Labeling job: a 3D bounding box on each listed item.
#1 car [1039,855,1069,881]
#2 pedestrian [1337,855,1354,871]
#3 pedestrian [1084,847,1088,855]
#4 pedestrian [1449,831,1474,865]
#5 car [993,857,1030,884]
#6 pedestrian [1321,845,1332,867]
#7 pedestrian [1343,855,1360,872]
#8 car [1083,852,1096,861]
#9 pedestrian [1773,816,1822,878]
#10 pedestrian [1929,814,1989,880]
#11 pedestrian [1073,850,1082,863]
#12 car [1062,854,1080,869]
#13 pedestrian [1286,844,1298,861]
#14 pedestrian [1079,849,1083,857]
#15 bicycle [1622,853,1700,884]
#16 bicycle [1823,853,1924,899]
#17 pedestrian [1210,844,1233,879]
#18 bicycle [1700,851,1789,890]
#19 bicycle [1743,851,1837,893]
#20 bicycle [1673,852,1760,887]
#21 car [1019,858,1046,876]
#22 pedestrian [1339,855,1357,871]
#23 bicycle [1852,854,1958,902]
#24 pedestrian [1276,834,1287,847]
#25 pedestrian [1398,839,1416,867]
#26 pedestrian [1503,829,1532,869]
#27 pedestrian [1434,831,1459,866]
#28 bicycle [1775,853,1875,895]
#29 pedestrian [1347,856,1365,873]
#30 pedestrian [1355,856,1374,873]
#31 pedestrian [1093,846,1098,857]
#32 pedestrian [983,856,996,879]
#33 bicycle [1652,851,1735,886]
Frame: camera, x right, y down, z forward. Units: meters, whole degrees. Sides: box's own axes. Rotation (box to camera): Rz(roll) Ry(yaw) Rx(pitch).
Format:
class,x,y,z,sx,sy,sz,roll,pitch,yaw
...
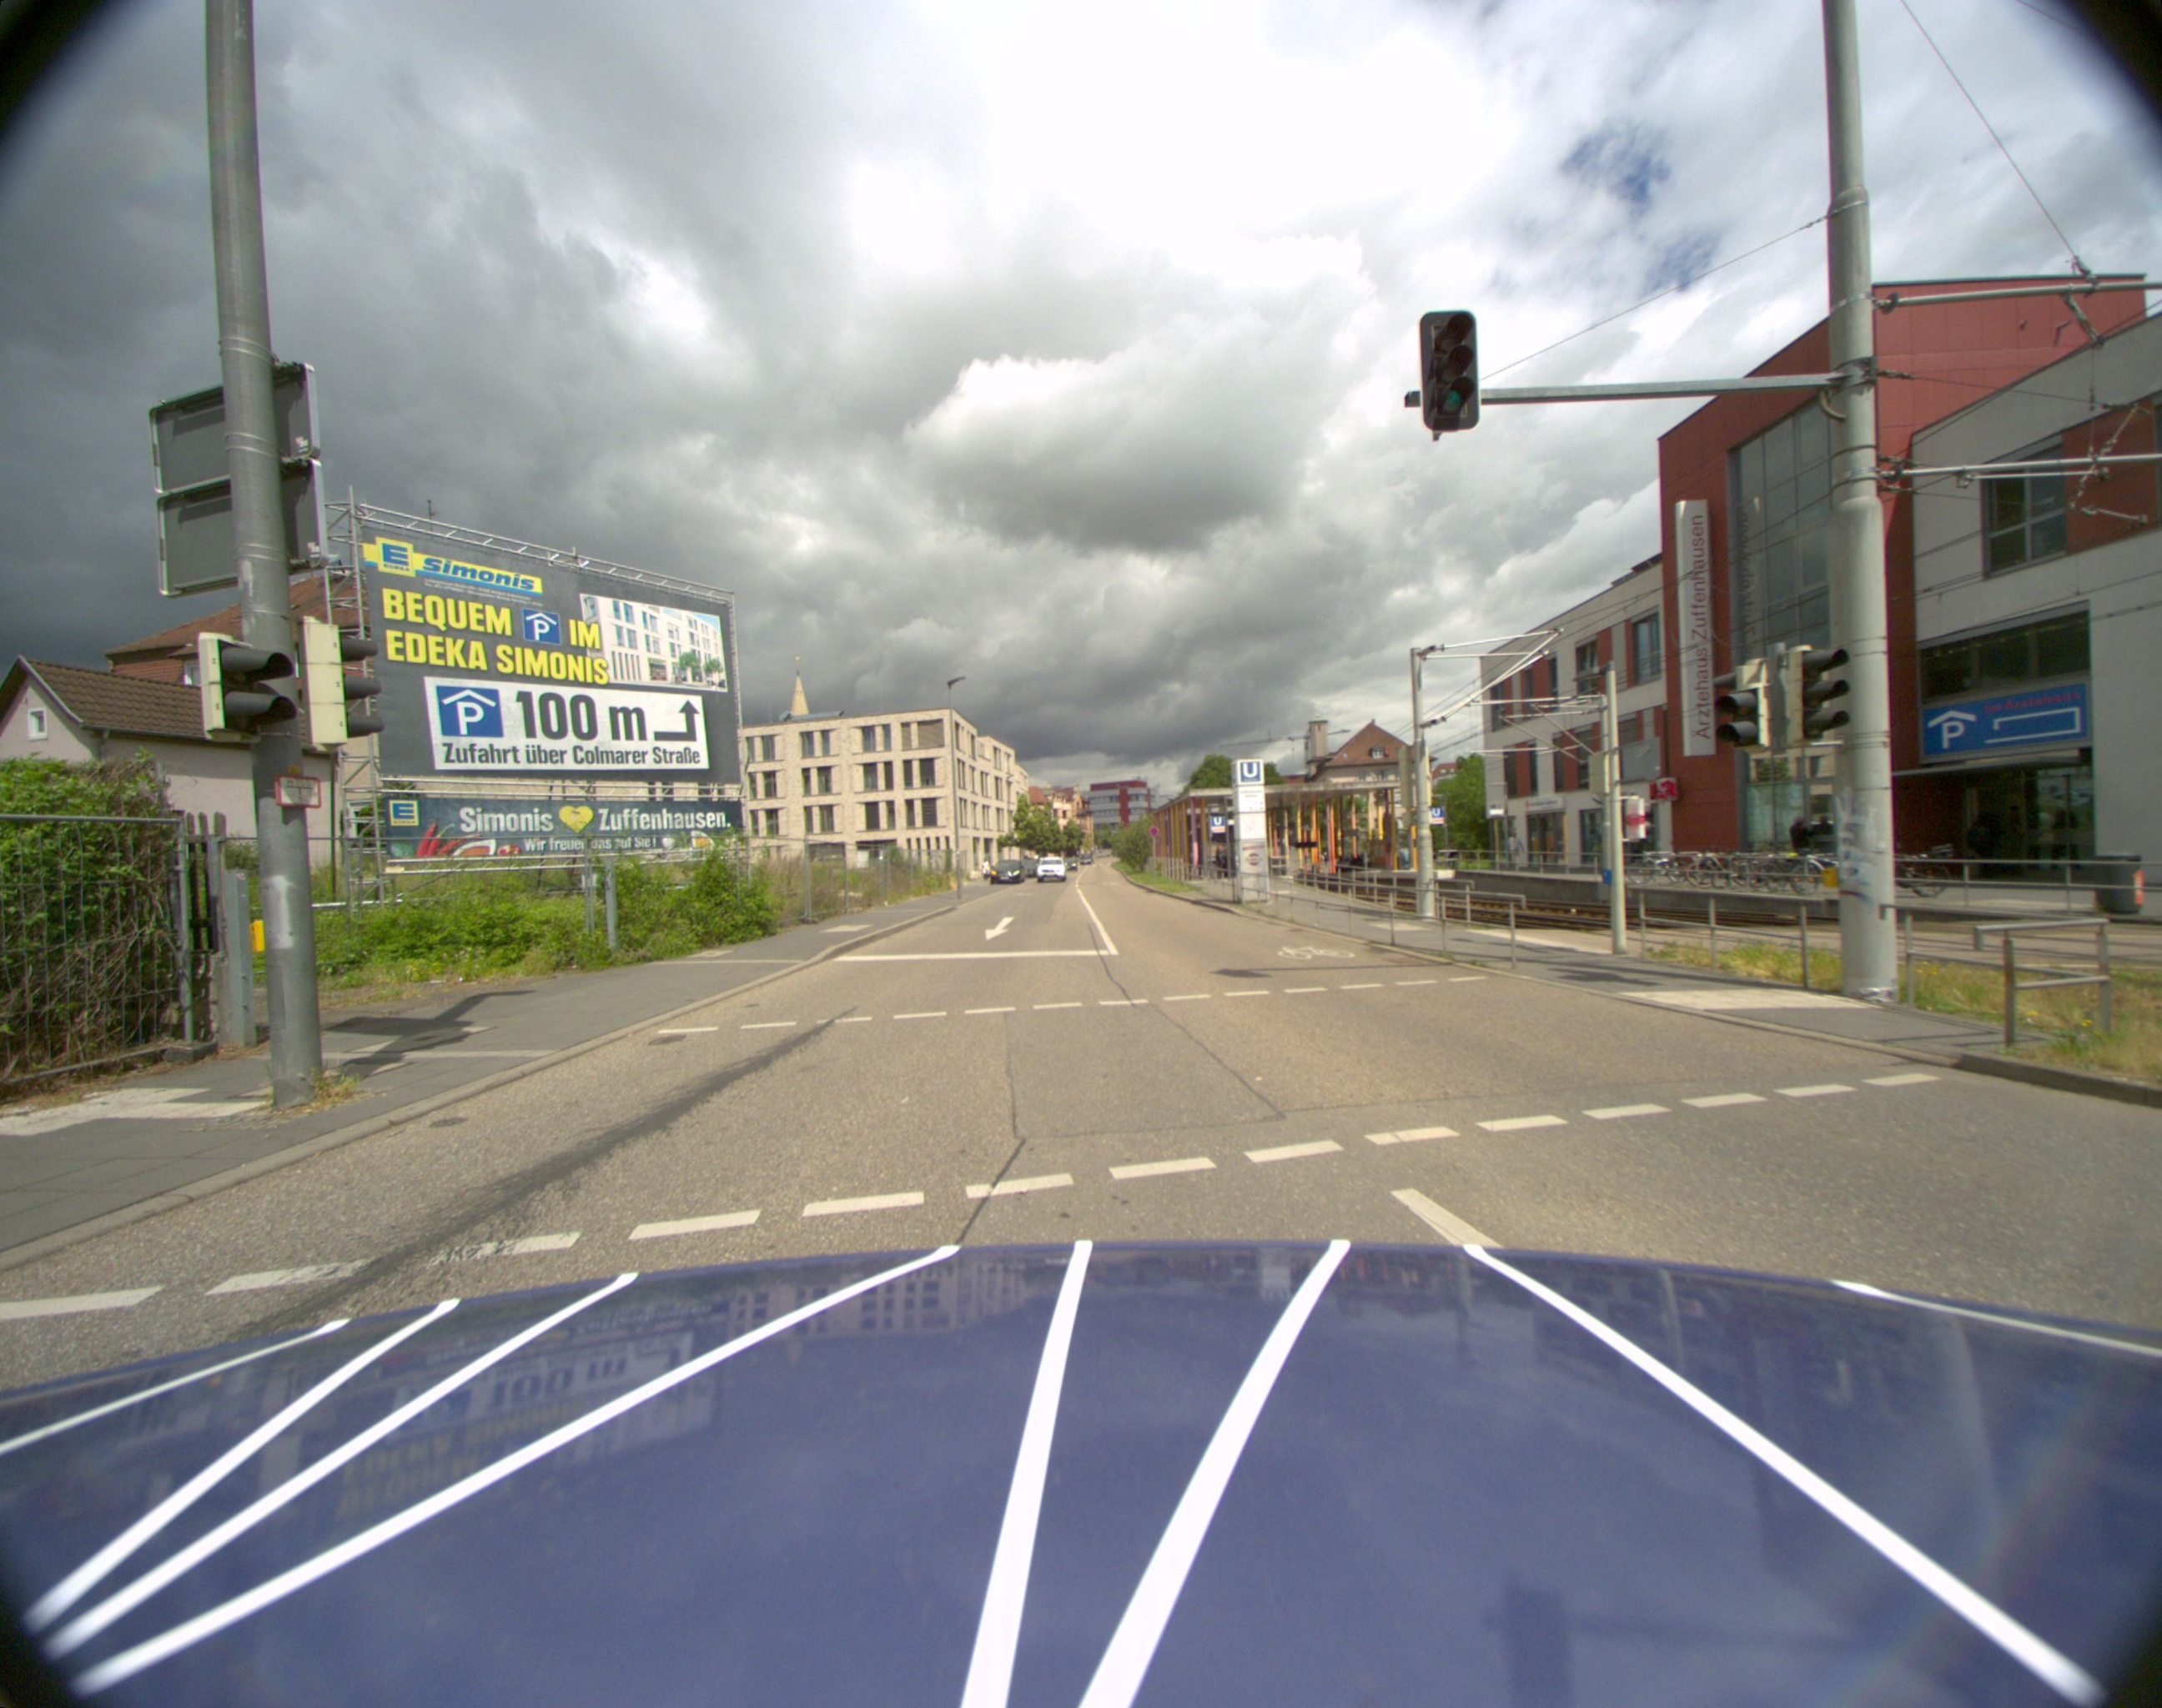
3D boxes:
class,x,y,z,sx,sy,sz,roll,pitch,yaw
car,-1.678,0.851,48.239,1.719,1.541,3.793,-1,0,1
pedestrian,19.265,0.629,55.424,0.943,1.128,0.886,-2,0,2
pedestrian,0.961,-0.584,141.750,0.673,1.503,0.783,-2,0,3
pedestrian,21.781,-0.351,43.526,0.864,1.957,1.105,-1,2,-1
car,-4.164,0.968,46.106,1.677,1.415,3.794,-1,1,3
pedestrian,22.125,0.168,68.404,0.617,2.002,0.775,-1,0,-6
pedestrian,19.078,0.678,53.592,0.943,1.128,0.886,-2,0,2
car,1.214,0.359,111.237,1.677,1.299,3.794,-1,1,3
pedestrian,22.005,-0.234,23.335,0.881,1.835,0.862,-4,3,-27
pedestrian,22.934,-0.183,19.867,0.933,1.688,0.790,0,2,44
pedestrian,-0.521,0.363,105.089,1.118,1.744,0.866,-2,0,-2
car,-0.996,0.759,77.425,1.678,1.425,3.794,-2,1,0
pedestrian,25.098,-0.200,90.266,1.127,2.002,1.179,-1,0,6
pedestrian,0.082,-0.171,142.151,0.673,1.503,0.783,-2,0,3
bicycle,17.527,0.427,22.974,1.861,0.876,0.455,-2,1,9
bicycle,17.707,0.494,16.994,1.739,0.952,0.428,-2,1,3
pedestrian,7.695,0.404,41.638,1.105,1.903,0.864,-1,2,2
bicycle,17.543,0.434,20.116,1.861,0.934,0.454,-2,1,5
bicycle,17.677,0.443,18.965,1.862,0.957,0.454,-2,1,3
bicycle,17.561,0.428,21.017,1.861,0.917,0.455,-2,1,8
car,-3.810,0.995,59.951,1.677,1.367,3.795,-2,0,3
pedestrian,19.175,0.658,54.582,0.943,1.128,0.886,-2,0,2
bicycle,17.719,0.507,16.361,1.739,0.947,0.428,-2,1,3
pedestrian,30.368,-2.075,114.798,1.451,2.002,1.968,0,1,19
pedestrian,23.293,-0.108,54.321,0.863,1.957,1.106,-1,2,6
pedestrian,22.111,-0.264,38.464,0.864,1.957,1.106,-1,2,3
pedestrian,20.958,-0.307,43.619,0.864,1.957,1.105,-1,2,-1
bicycle,17.640,0.474,18.033,1.862,0.930,0.454,-2,1,3
pedestrian,19.063,0.696,52.634,0.943,1.128,0.886,-2,0,2
pedestrian,19.258,0.710,51.679,0.943,1.128,0.886,-2,0,2
pedestrian,2.787,-0.424,143.677,0.800,2.002,0.810,-1,0,3
pedestrian,-6.112,0.907,50.763,0.673,1.503,0.782,-2,0,1
bicycle,17.586,0.413,21.846,1.861,0.927,0.455,-2,1,9
